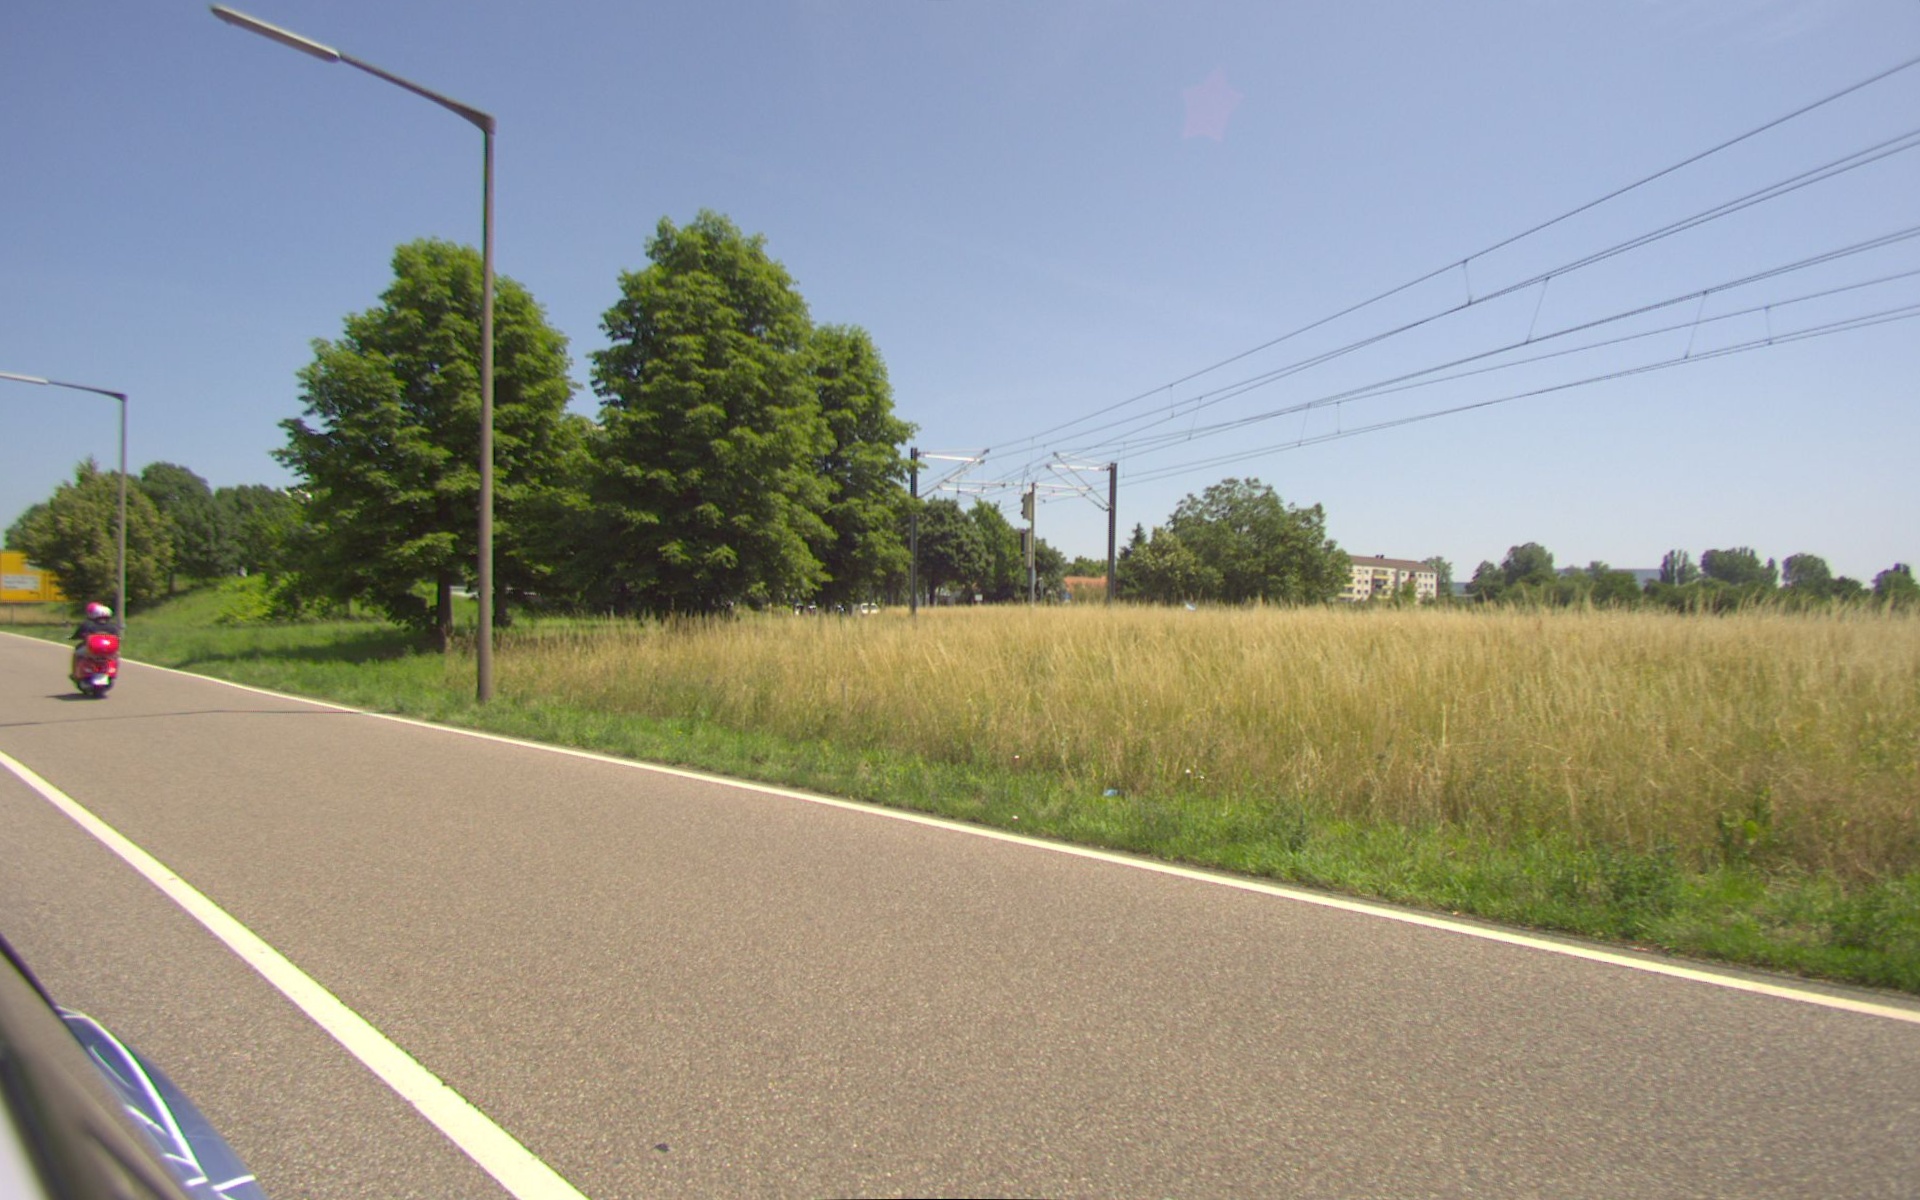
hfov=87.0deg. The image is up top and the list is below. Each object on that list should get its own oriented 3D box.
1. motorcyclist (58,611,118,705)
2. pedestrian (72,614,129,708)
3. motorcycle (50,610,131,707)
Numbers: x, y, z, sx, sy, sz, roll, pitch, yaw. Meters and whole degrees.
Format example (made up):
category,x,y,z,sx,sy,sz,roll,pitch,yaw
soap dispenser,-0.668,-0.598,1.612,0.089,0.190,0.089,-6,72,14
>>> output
category,x,y,z,sx,sy,sz,roll,pitch,yaw
motorcyclist,-15.178,1.004,17.615,0.669,1.598,0.681,-4,-4,39
pedestrian,-14.557,1.022,17.140,0.577,1.548,0.636,-3,-3,39
motorcycle,-15.134,1.001,17.593,2.145,1.598,0.697,-3,-3,40
